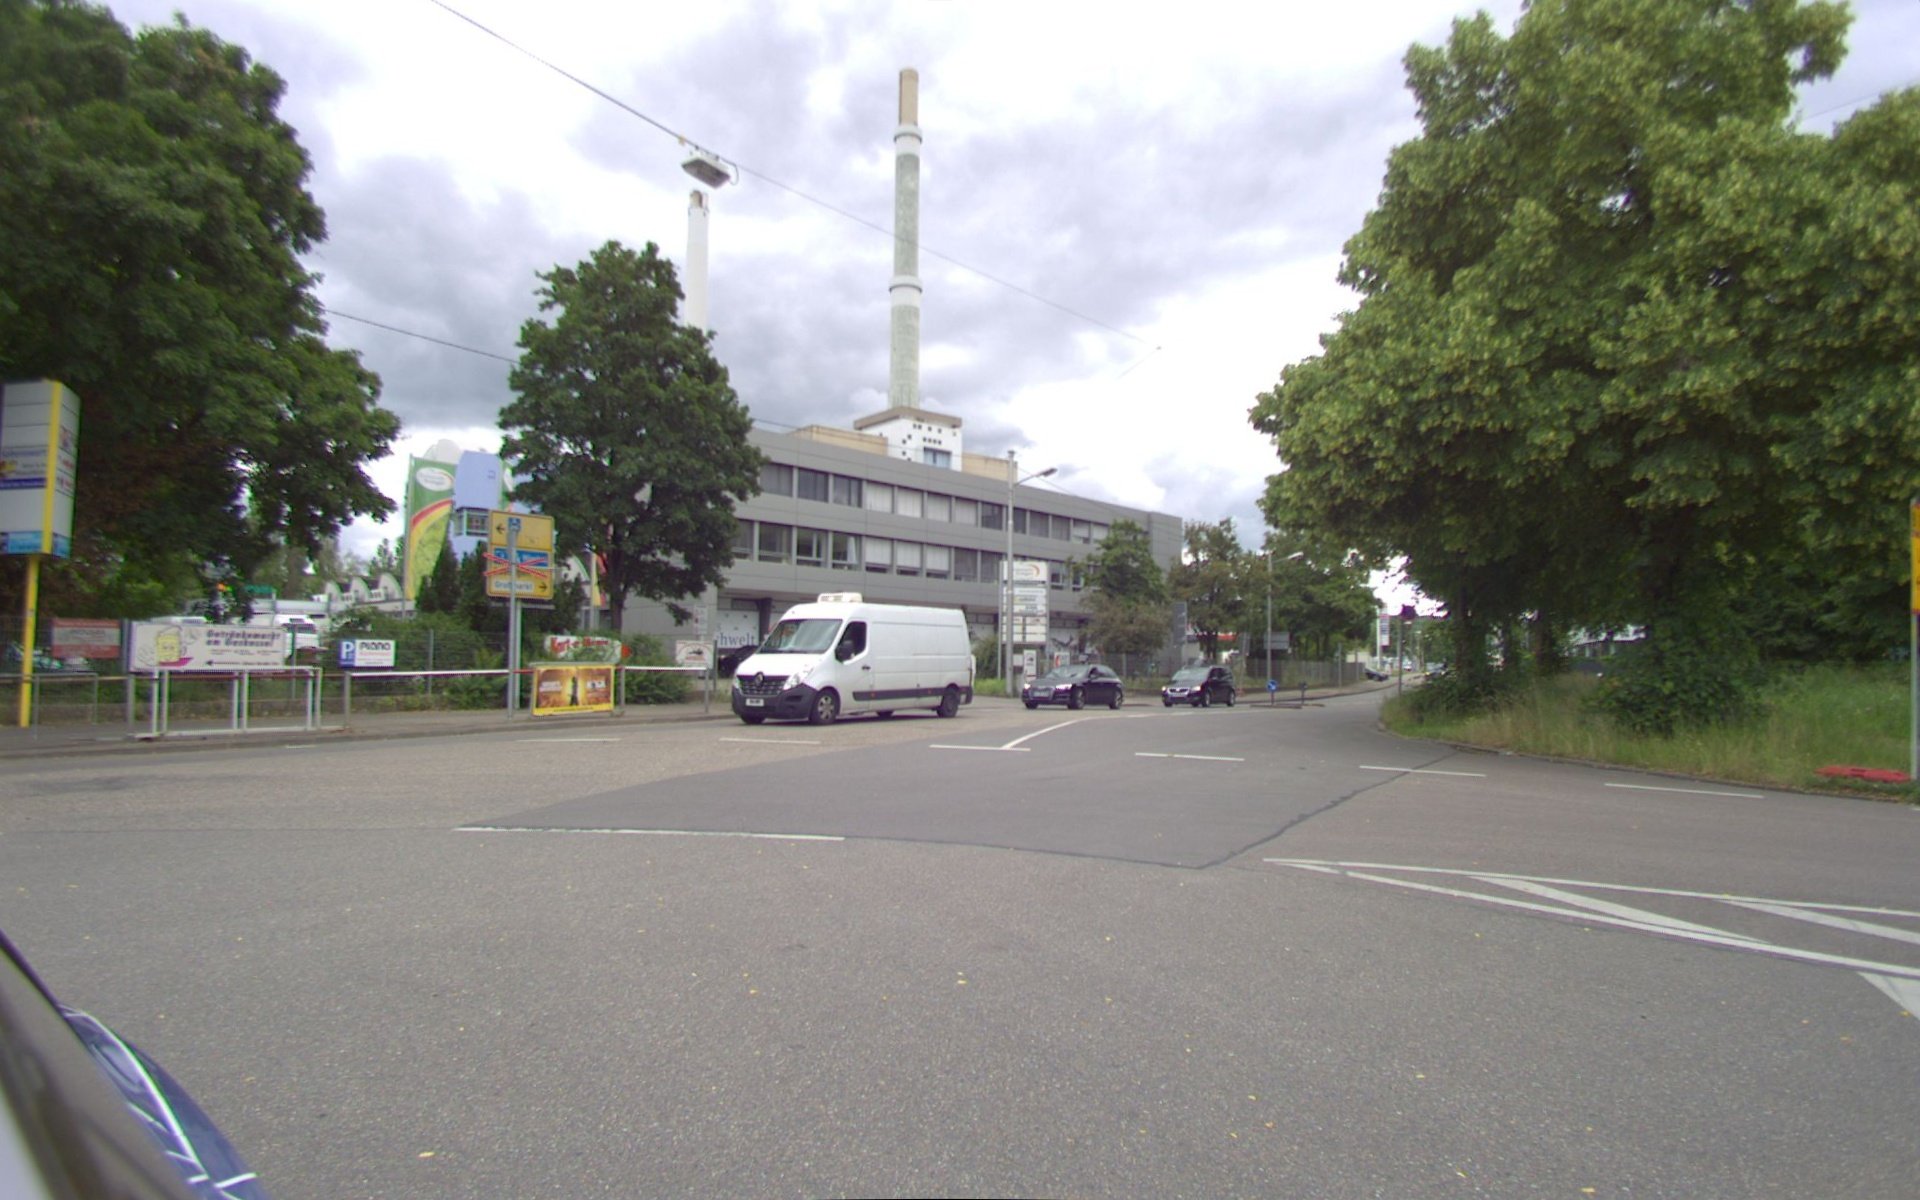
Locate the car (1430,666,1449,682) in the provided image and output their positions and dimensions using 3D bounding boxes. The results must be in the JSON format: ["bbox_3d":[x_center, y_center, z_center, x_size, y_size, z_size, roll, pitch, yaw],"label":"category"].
[{"bbox_3d":[52.055,8.034,109.899,1.786,1.653,4.403,-2,-4,25],"label":"car"}]

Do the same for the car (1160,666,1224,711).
[{"bbox_3d":[9.203,3.429,39.921,1.784,1.653,4.407,-1,-4,22],"label":"car"}]

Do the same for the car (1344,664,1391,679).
[{"bbox_3d":[53.025,9.295,131.659,5.435,1.884,2.009,-2,-4,26],"label":"car"}]

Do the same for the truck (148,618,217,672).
[{"bbox_3d":[-63.443,3.720,82.478,9.191,4.198,2.956,-3,-5,44],"label":"truck"}]

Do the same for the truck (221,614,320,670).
[{"bbox_3d":[-54.284,3.413,79.369,15.727,3.964,2.811,-3,-5,43],"label":"truck"}]

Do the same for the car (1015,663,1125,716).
[{"bbox_3d":[3.498,2.724,31.484,1.858,1.524,4.396,-2,-4,29],"label":"car"}]

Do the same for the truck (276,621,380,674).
[{"bbox_3d":[-51.614,3.932,82.361,15.724,3.964,2.812,-3,-5,42],"label":"truck"}]

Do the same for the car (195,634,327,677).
[{"bbox_3d":[-47.661,3.850,69.169,2.244,2.754,7.050,-3,-6,44],"label":"car"}]

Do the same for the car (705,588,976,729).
[{"bbox_3d":[-2.211,1.242,20.970,2.381,2.478,6.034,-3,-5,31],"label":"car"}]

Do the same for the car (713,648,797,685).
[{"bbox_3d":[-9.945,3.206,48.894,1.811,1.630,4.469,4,-4,-44],"label":"car"}]

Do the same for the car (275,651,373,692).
[{"bbox_3d":[-20.806,2.332,33.084,3.700,1.258,1.686,-3,-5,41],"label":"car"}]
